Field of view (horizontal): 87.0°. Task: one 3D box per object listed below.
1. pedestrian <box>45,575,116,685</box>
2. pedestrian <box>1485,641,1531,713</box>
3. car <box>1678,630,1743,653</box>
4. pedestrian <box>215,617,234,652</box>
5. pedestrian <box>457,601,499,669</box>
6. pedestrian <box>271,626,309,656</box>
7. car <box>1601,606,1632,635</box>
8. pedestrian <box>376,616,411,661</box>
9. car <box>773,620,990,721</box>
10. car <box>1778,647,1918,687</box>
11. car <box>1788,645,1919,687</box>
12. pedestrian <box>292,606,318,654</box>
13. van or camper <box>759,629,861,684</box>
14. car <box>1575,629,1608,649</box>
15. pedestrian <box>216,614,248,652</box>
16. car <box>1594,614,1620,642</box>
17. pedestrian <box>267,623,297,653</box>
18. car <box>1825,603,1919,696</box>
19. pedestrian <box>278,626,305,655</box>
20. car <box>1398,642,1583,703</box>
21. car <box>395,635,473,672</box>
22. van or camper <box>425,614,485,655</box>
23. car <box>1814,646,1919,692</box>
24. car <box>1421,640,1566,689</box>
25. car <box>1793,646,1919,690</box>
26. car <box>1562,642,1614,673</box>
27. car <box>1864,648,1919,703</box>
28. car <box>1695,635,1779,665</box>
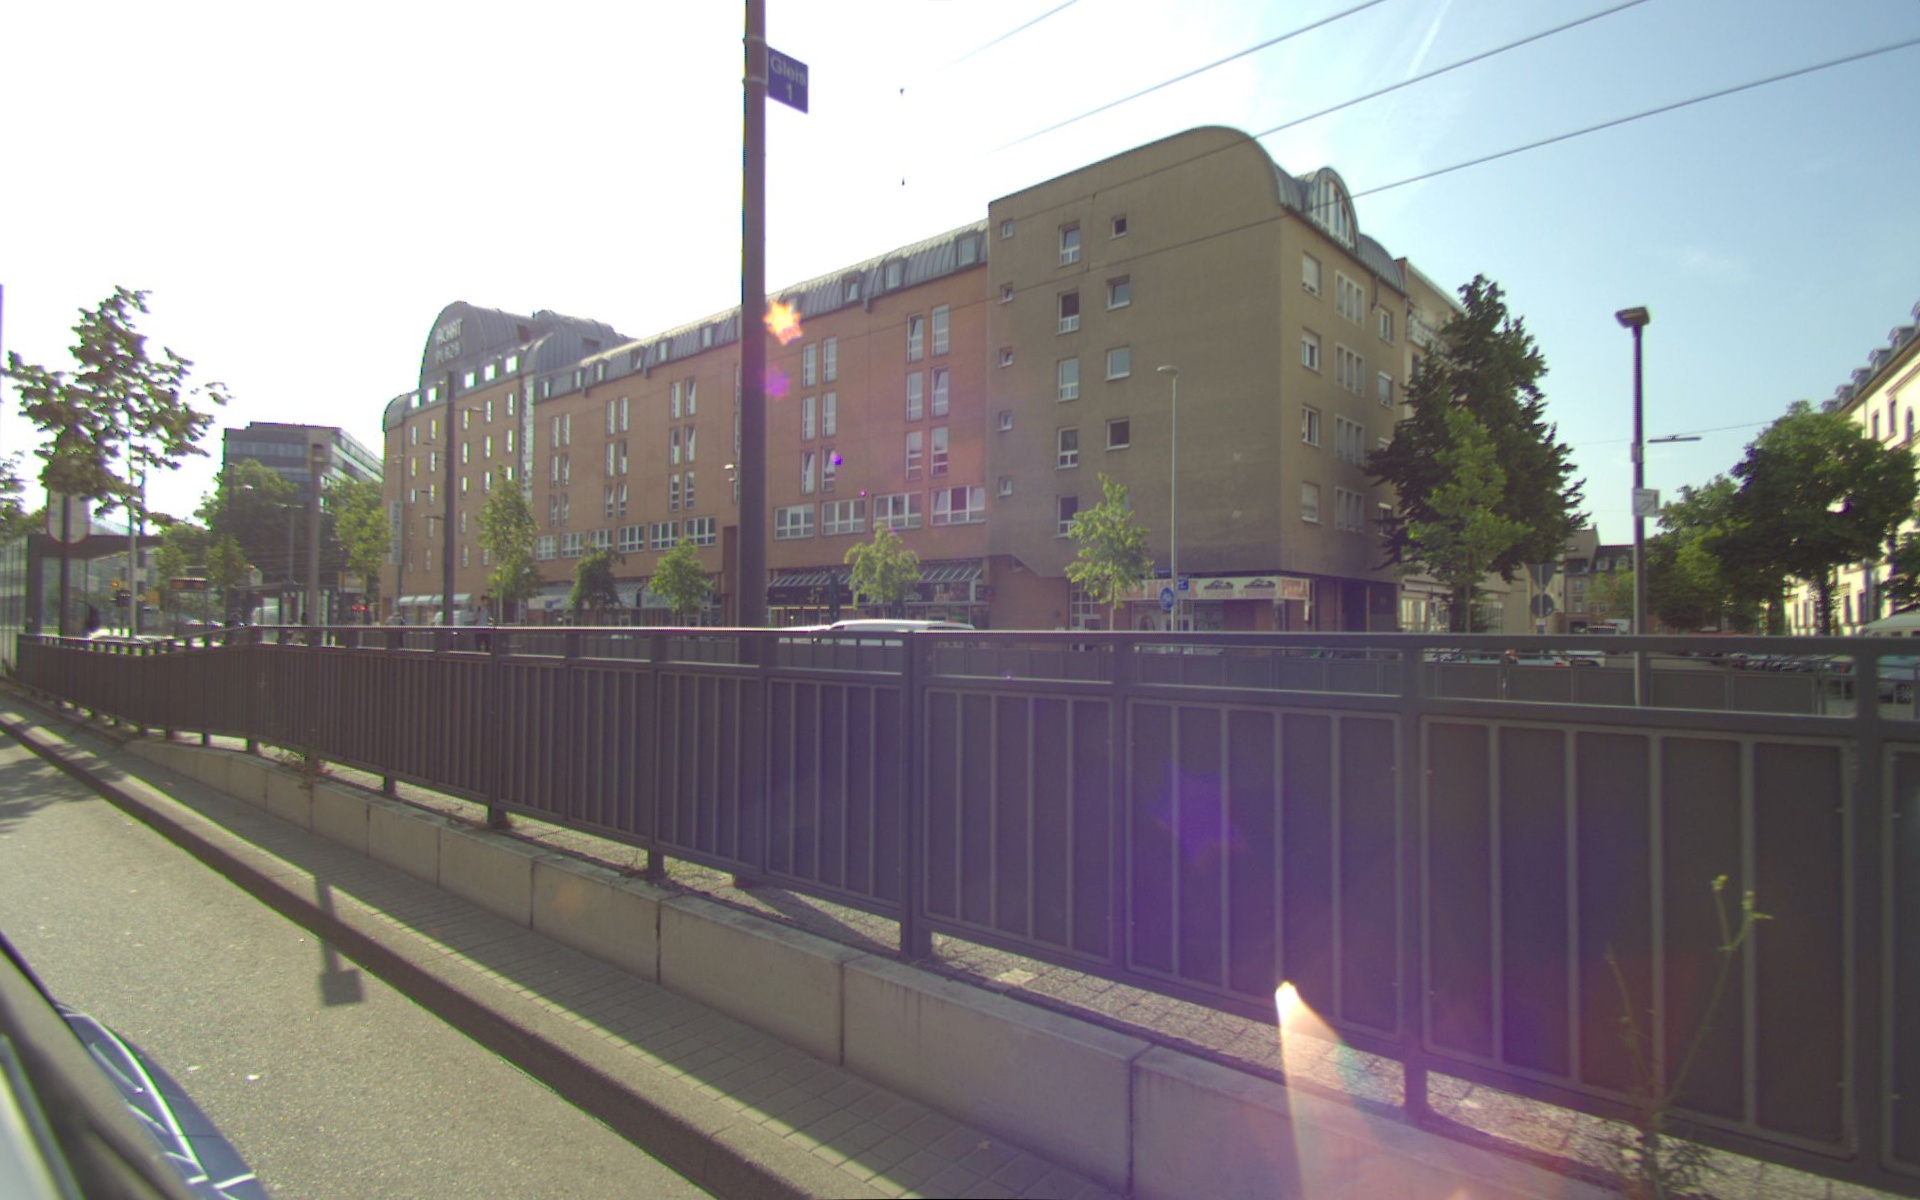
[{"bbox_3d":[-16.847,0.551,19.383,1.027,2.029,0.825,-1,0,38],"label":"pedestrian"},{"bbox_3d":[12.531,1.734,23.131,0.807,1.595,0.671,-1,-3,38],"label":"pedestrian"},{"bbox_3d":[60.491,3.333,81.654,4.054,1.863,1.953,-1,-2,34],"label":"car"},{"bbox_3d":[-37.760,1.776,51.972,0.698,1.774,0.644,-1,0,42],"label":"pedestrian"},{"bbox_3d":[-13.661,0.974,28.663,0.939,1.886,0.731,-1,-3,42],"label":"pedestrian"},{"bbox_3d":[-28.435,1.728,42.950,0.675,1.255,1.141,-1,-3,41],"label":"pedestrian"},{"bbox_3d":[67.663,2.152,104.264,2.581,2.928,5.920,-1,-3,34],"label":"car"},{"bbox_3d":[-19.835,1.344,35.429,0.803,1.542,0.676,0,-2,11],"label":"pedestrian"},{"bbox_3d":[-1.850,1.491,22.791,4.929,2.029,1.973,-1,-3,41],"label":"car"},{"bbox_3d":[34.176,2.539,39.086,3.888,1.426,1.658,-1,-3,36],"label":"car"},{"bbox_3d":[32.961,2.376,37.128,3.888,1.426,1.658,-1,-3,36],"label":"car"},{"bbox_3d":[-26.386,1.201,40.770,0.794,1.900,0.556,2,-2,-35],"label":"pedestrian"},{"bbox_3d":[-5.855,2.135,39.341,1.970,2.029,4.003,2,-3,-43],"label":"van or camper"},{"bbox_3d":[45.145,2.813,72.325,1.824,1.386,3.953,-1,-3,34],"label":"car"},{"bbox_3d":[-34.154,1.541,47.469,0.825,1.760,0.784,1,-3,5],"label":"pedestrian"},{"bbox_3d":[56.704,2.475,88.681,1.824,2.329,4.064,-1,-3,34],"label":"car"},{"bbox_3d":[-30.152,1.693,45.019,0.808,1.324,0.860,-1,-3,38],"label":"pedestrian"},{"bbox_3d":[28.007,1.405,28.694,5.041,2.603,1.976,-1,-3,35],"label":"car"},{"bbox_3d":[-28.815,1.747,43.637,0.675,1.255,0.783,-1,-3,41],"label":"pedestrian"},{"bbox_3d":[15.351,2.041,29.400,4.548,1.612,1.747,-1,-3,37],"label":"car"},{"bbox_3d":[-27.645,2.784,53.128,4.628,1.819,1.973,-1,-3,40],"label":"car"},{"bbox_3d":[-35.957,2.416,72.005,5.351,2.823,1.972,-1,-3,42],"label":"van or camper"},{"bbox_3d":[30.336,2.229,32.814,3.888,1.426,1.658,-1,-3,36],"label":"car"},{"bbox_3d":[17.819,2.102,33.872,3.996,1.519,1.974,-1,-3,39],"label":"car"},{"bbox_3d":[31.293,2.316,34.864,3.888,1.426,1.658,-1,-3,36],"label":"car"},{"bbox_3d":[29.339,2.659,47.238,1.825,1.386,3.952,-1,-3,35],"label":"car"},{"bbox_3d":[26.723,2.025,26.843,3.918,1.426,1.658,-1,-3,36],"label":"car"},{"bbox_3d":[48.699,3.100,63.499,3.989,1.807,1.977,-1,-2,34],"label":"car"}]
